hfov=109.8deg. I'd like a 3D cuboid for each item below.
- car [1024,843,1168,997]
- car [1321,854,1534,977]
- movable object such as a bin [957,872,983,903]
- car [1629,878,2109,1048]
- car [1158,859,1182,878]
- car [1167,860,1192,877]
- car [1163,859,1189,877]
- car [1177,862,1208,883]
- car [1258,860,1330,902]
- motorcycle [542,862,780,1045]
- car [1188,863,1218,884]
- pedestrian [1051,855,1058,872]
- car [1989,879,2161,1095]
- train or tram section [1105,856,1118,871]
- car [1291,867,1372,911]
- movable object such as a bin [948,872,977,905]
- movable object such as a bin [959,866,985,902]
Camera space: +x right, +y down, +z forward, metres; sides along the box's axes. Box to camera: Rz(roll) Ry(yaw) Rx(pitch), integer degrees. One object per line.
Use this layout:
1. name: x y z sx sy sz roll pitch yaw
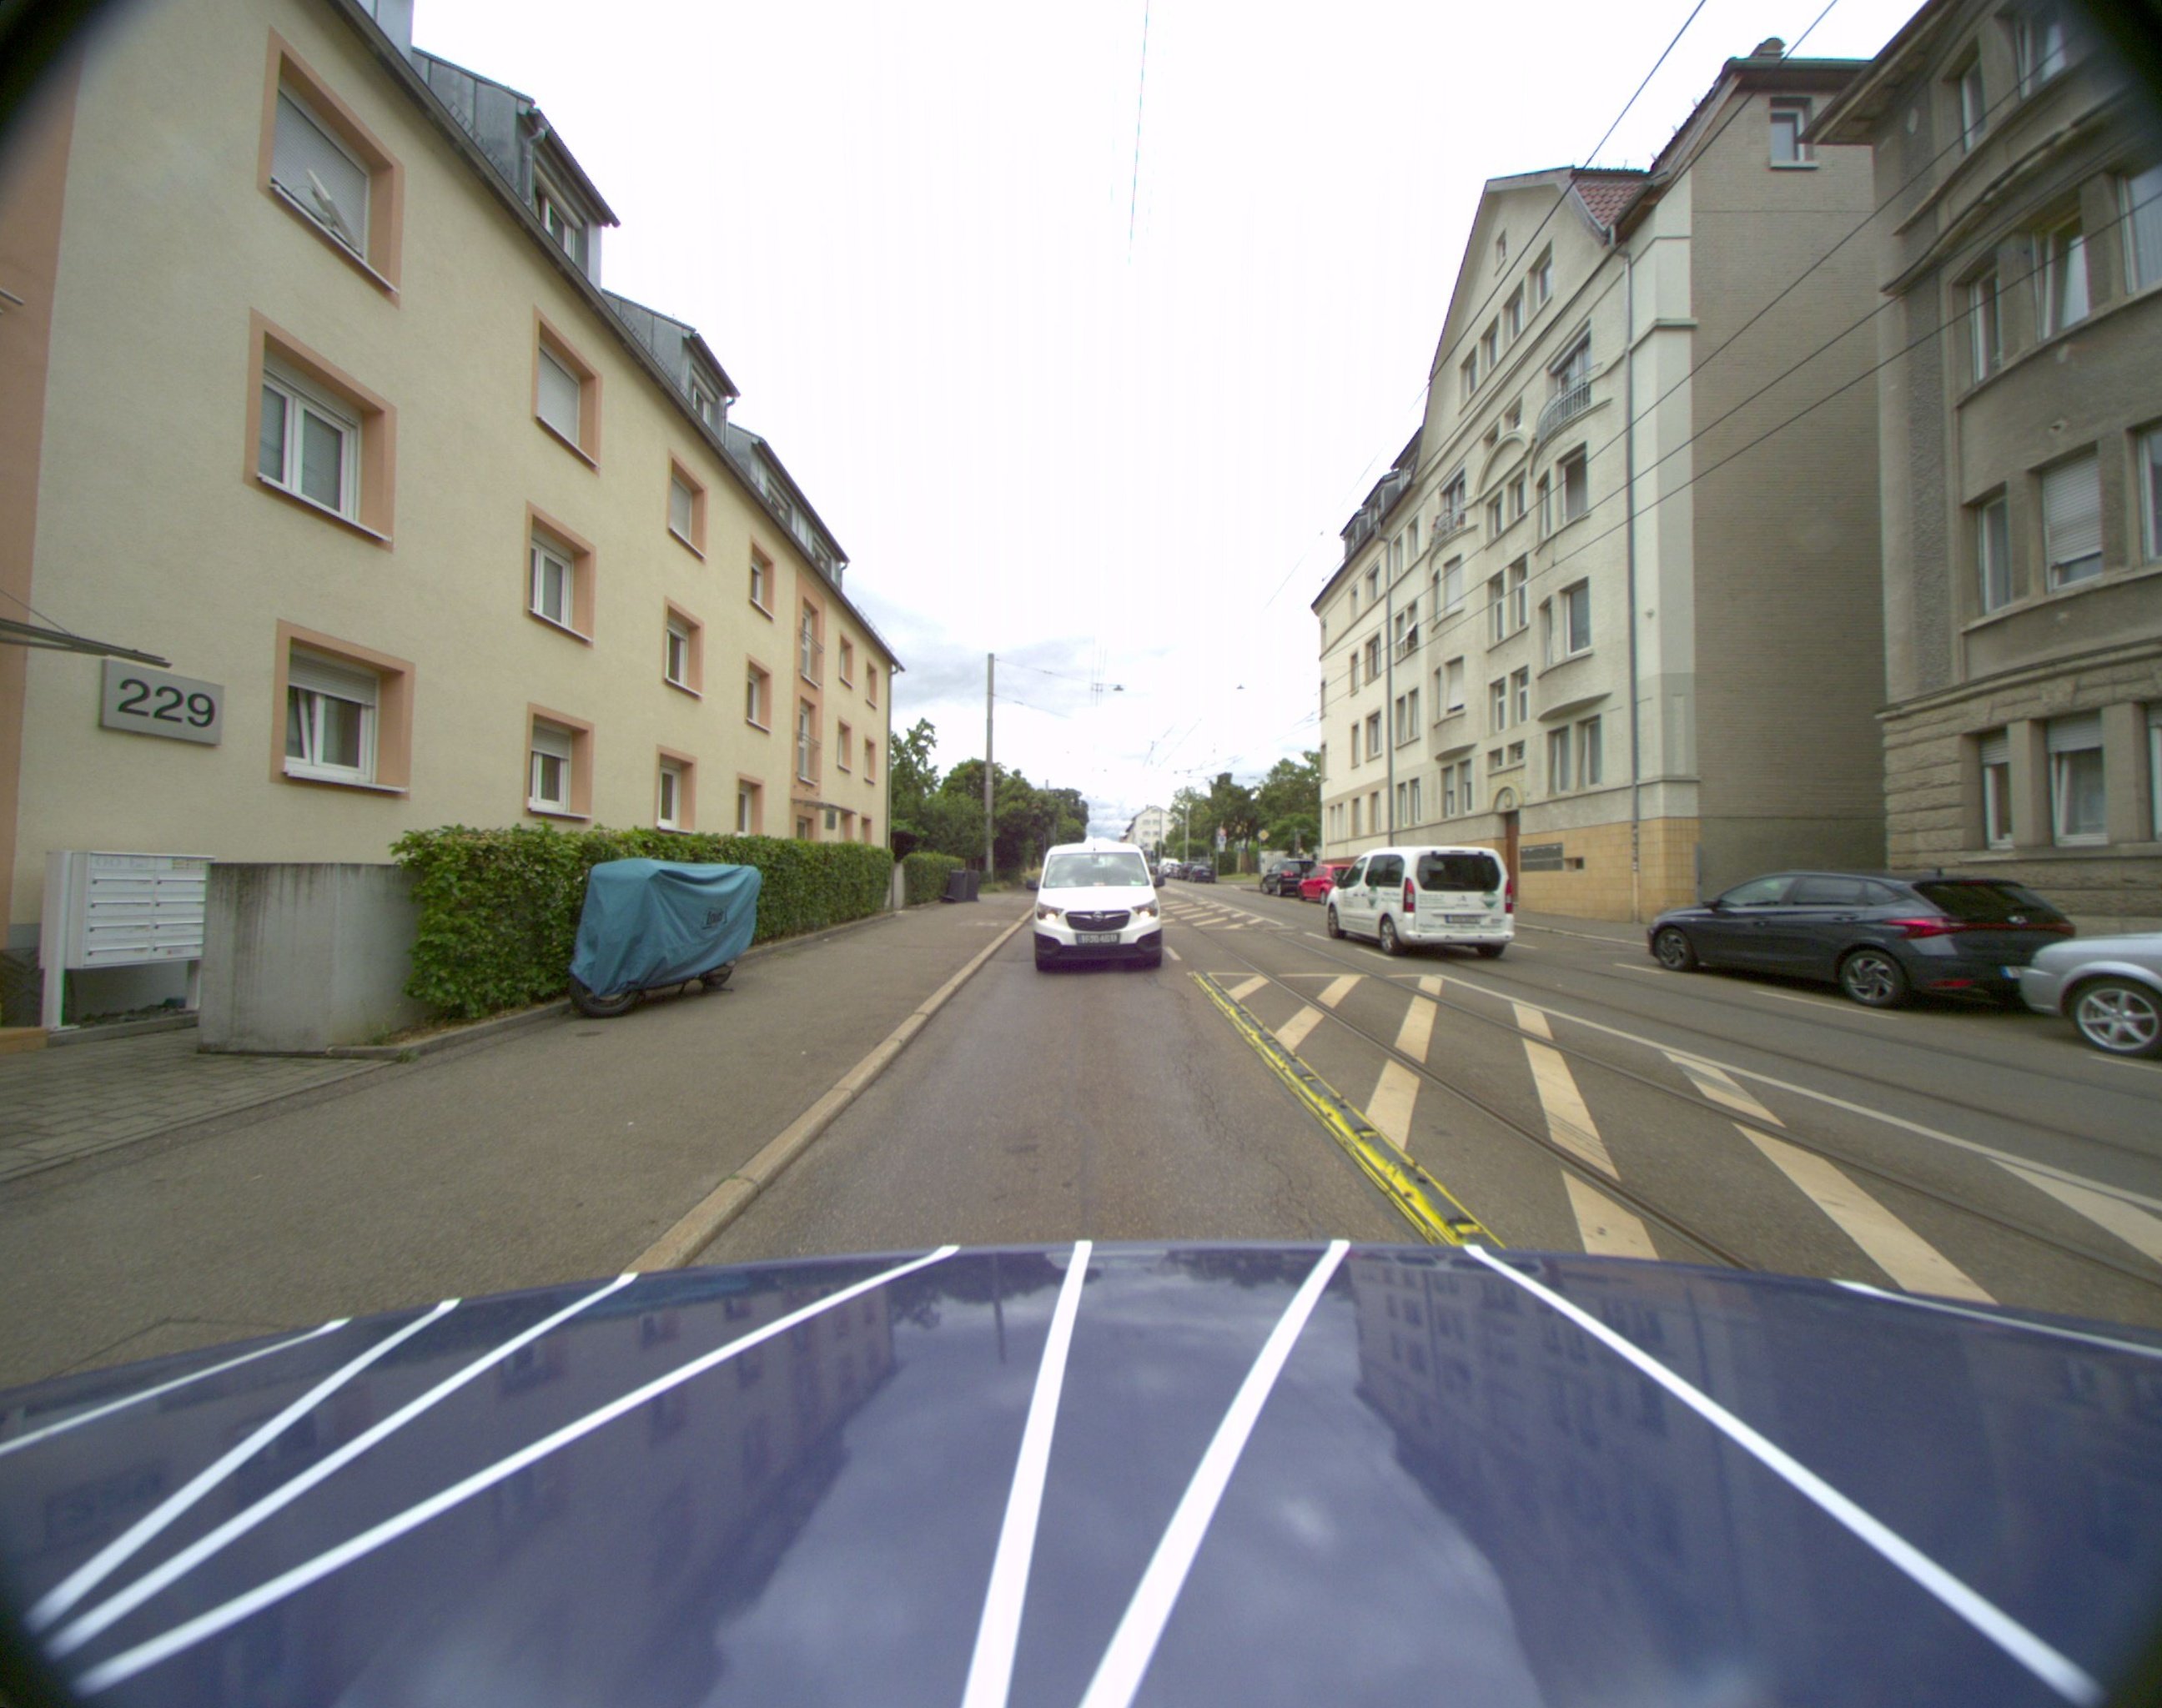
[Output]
1. car: 0.233 0.815 11.328 1.730 1.850 4.421 0 0 1
2. car: 5.766 0.914 13.312 1.925 1.808 4.218 0 0 2
3. movable object such as a bin: -3.697 1.112 25.288 0.794 1.006 0.789 0 0 -3
4. car: 8.995 1.112 9.291 1.625 1.454 4.032 1 1 -1
5. car: 9.694 1.563 83.210 1.974 1.901 4.734 1 1 -1
6. car: 9.279 1.368 71.702 1.743 1.500 3.868 1 1 -1
7. car: 9.595 1.434 77.258 1.974 1.677 4.632 1 1 -1
8. car: 9.581 1.544 65.575 1.974 1.677 4.443 1 1 -1
9. car: 9.329 1.136 33.643 1.872 1.636 4.401 1 1 -1
10. motorcycle: -3.889 0.818 7.390 0.840 1.448 2.553 0 0 1
11. car: 9.417 1.519 58.845 1.625 1.469 4.155 1 1 -1
12. pedestrian: -2.647 0.949 76.496 0.716 1.611 0.718 0 0 1
13. car: 8.939 1.009 4.606 1.625 1.595 4.351 1 0 -1
14. train or tram section: 7.687 2.330 192.632 2.857 3.615 12.130 0 0 0
15. car: 9.313 1.266 28.550 1.625 1.454 3.744 1 1 -2
16. movable object such as a bin: -3.790 1.099 24.370 0.794 1.006 0.789 0 0 3
17. movable object such as a bin: -3.736 1.010 26.132 0.794 1.211 0.789 0 0 -3
